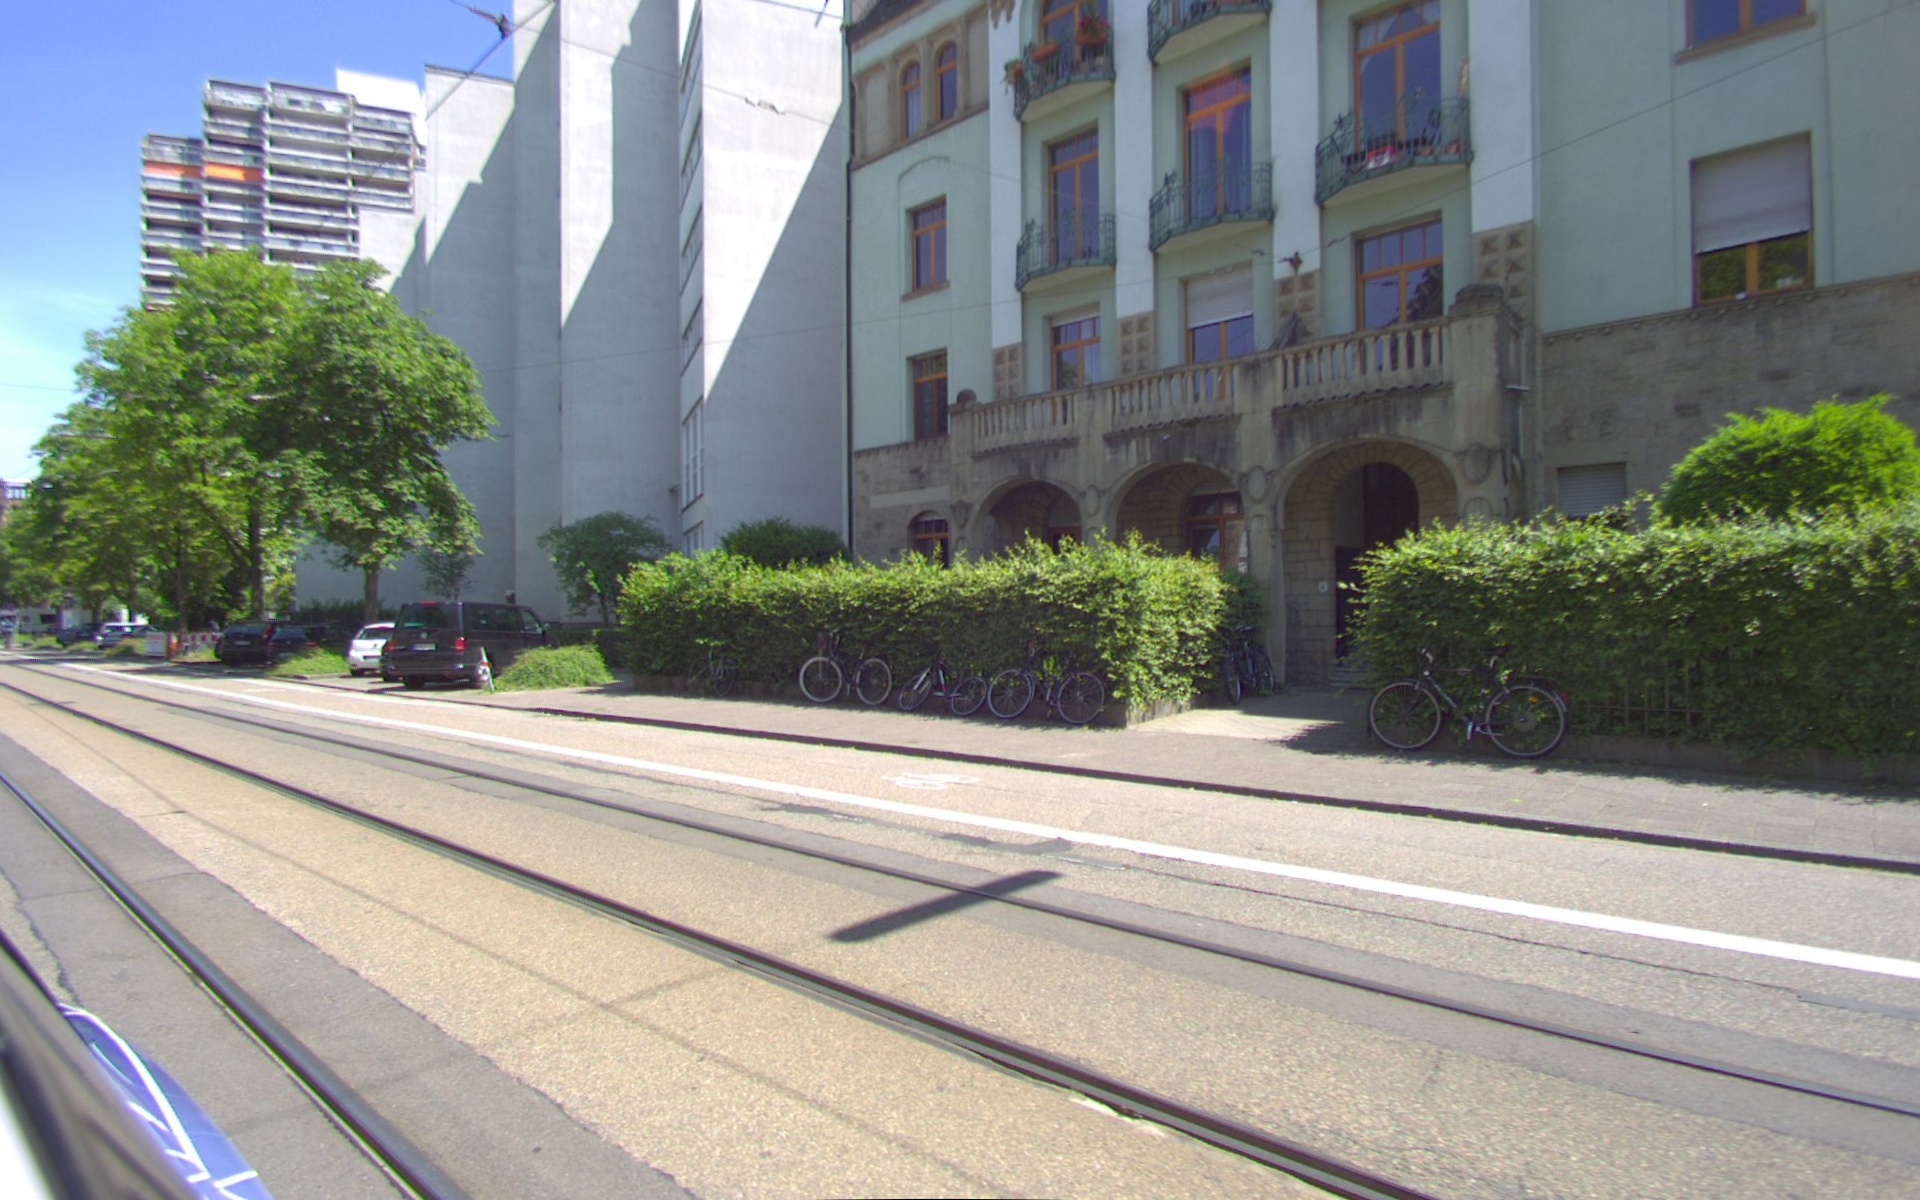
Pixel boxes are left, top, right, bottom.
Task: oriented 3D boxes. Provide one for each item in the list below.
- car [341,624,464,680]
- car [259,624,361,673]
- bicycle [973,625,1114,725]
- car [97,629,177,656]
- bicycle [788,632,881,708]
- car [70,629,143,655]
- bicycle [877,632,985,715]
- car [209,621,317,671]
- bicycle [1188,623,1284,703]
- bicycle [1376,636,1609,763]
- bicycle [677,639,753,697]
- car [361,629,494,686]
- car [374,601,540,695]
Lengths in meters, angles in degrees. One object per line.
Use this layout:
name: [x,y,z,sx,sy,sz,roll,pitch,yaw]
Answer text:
car: [-15.833,1.435,28.956,1.713,1.437,3.895,-1,-1,-6]
car: [-21.258,1.558,33.239,1.469,1.410,3.285,-1,0,-5]
bicycle: [1.017,0.909,12.763,1.932,1.173,0.336,-1,0,41]
car: [-42.935,2.210,52.896,1.474,1.276,3.486,-1,-1,-3]
bicycle: [-1.930,1.036,15.429,1.727,1.076,0.336,-1,0,41]
car: [-46.185,2.251,54.841,1.345,1.311,3.312,-1,-1,-3]
bicycle: [-0.427,0.993,14.079,1.727,1.076,0.336,-1,0,41]
car: [-23.823,1.525,34.753,1.614,1.561,3.816,-1,-1,-10]
bicycle: [3.972,0.862,14.440,0.374,1.003,2.199,-1,0,42]
bicycle: [4.916,0.882,9.455,1.899,1.054,0.286,-1,0,41]
bicycle: [-4.313,1.169,17.740,1.727,0.948,0.336,-2,1,41]
car: [-13.640,1.433,26.142,1.502,1.249,3.560,-1,0,1]
car: [-11.592,1.039,23.642,1.887,1.984,3.906,-1,0,1]
